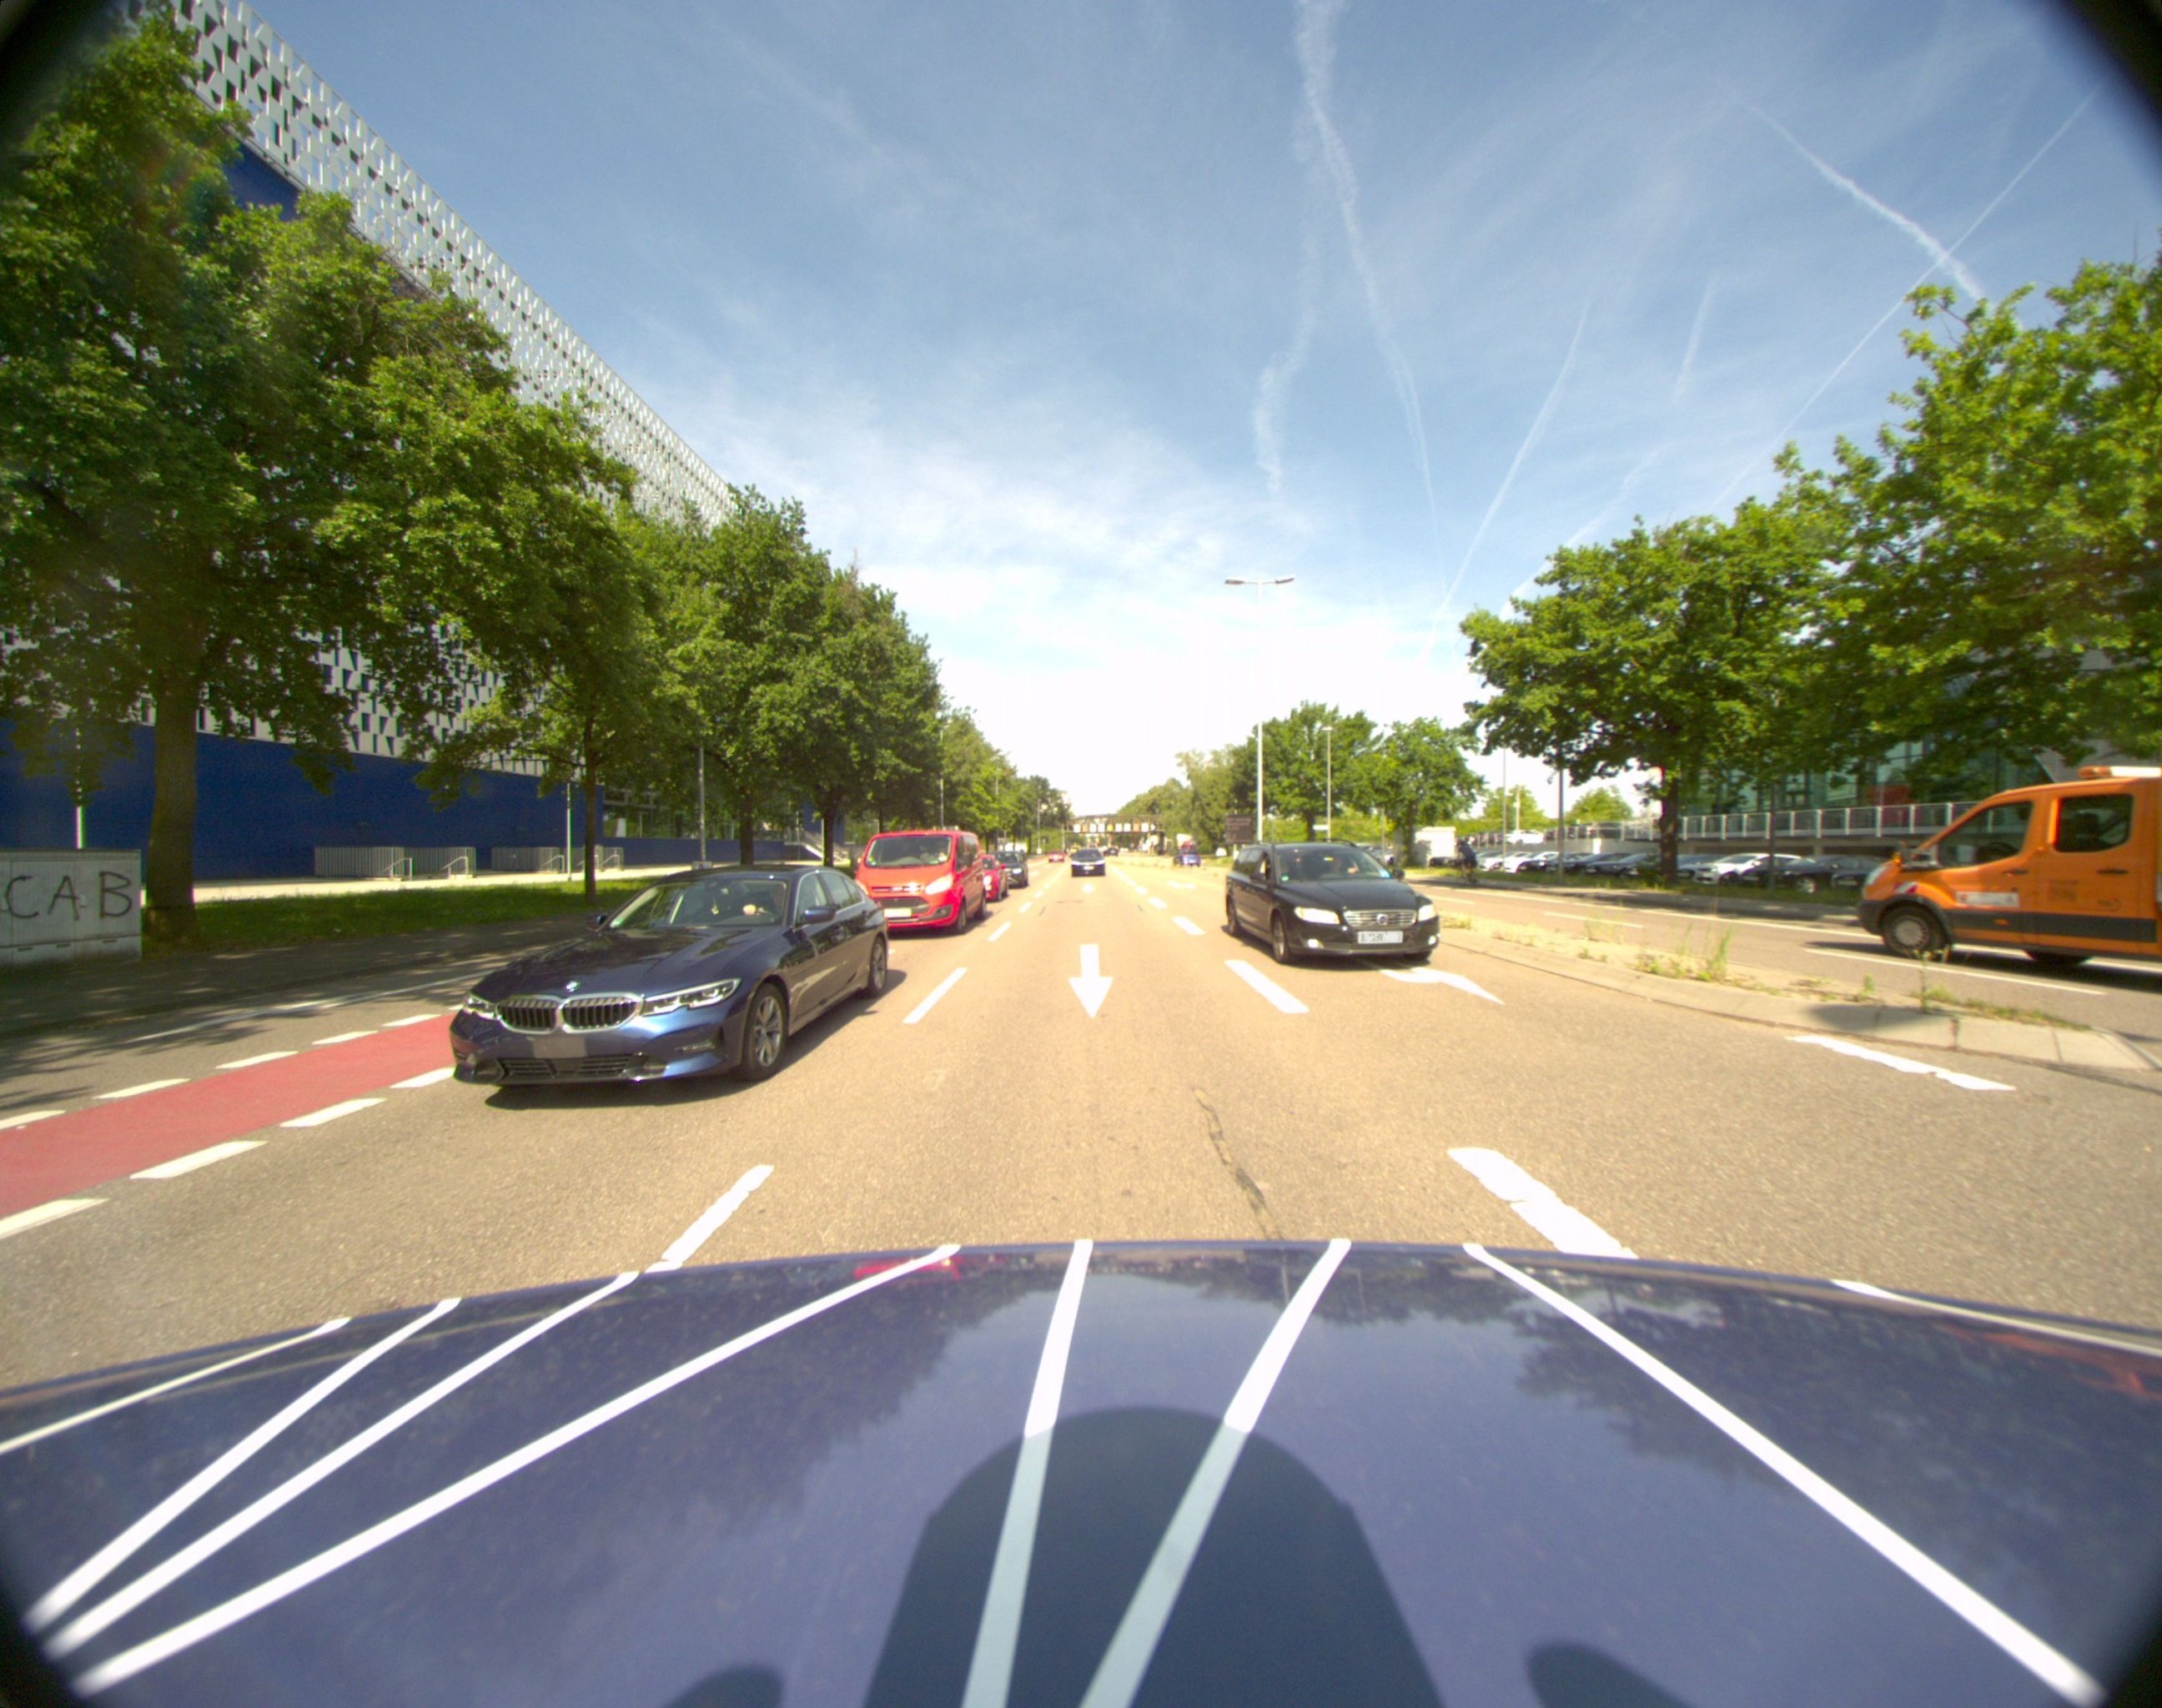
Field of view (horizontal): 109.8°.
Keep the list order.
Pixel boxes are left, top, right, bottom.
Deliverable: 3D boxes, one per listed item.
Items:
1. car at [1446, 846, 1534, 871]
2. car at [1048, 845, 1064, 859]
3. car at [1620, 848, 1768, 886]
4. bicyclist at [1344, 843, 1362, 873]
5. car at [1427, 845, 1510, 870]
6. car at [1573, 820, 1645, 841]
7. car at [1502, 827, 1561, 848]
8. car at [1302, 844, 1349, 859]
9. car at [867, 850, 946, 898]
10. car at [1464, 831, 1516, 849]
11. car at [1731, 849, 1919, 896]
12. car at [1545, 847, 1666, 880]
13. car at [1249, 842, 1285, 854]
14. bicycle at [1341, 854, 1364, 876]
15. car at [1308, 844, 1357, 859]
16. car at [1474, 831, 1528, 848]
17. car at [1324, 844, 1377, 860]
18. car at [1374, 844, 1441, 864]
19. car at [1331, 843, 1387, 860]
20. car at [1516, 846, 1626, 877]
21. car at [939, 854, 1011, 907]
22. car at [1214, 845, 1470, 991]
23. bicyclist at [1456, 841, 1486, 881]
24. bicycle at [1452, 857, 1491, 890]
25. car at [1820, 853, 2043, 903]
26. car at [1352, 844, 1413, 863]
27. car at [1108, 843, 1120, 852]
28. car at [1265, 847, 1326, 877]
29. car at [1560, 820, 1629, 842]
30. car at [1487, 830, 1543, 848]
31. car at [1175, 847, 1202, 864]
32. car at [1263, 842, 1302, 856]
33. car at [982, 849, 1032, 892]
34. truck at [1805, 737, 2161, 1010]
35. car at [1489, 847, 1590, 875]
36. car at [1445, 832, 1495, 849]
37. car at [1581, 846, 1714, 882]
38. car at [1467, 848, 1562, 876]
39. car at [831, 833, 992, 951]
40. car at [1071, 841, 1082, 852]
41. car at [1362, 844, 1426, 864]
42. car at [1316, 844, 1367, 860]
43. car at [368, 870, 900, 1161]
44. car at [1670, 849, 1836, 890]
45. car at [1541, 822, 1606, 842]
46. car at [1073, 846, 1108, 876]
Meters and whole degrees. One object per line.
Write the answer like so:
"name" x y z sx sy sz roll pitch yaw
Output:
"car" 23.996 0.255 44.653 4.196 1.239 1.690 3 1 2
"car" -2.795 -0.269 86.974 1.649 1.531 3.999 -3 1 -1
"car" 23.387 0.469 29.110 4.196 1.198 1.690 3 1 2
"bicyclist" 14.731 0.225 41.177 0.578 1.587 0.910 1 1 0
"car" 23.970 0.181 47.121 4.196 1.315 1.690 3 1 2
"car" 40.106 -1.787 57.812 4.196 1.397 1.690 3 1 2
"car" 40.500 -1.482 68.362 4.196 1.722 1.690 3 1 2
"car" 25.020 -0.309 77.748 4.196 1.315 1.690 3 1 2
"car" -6.792 0.708 30.062 1.998 1.646 4.390 -2 1 1
"car" 40.647 -1.384 75.646 4.196 1.490 1.690 3 1 2
"car" 23.552 0.558 24.158 4.196 1.239 1.690 3 1 2
"car" 23.622 0.389 34.328 4.196 1.252 1.690 3 1 2
"car" 24.157 -0.780 98.810 4.196 1.371 1.690 3 1 2
"bicycle" 14.730 0.597 41.283 0.572 1.143 1.769 1 1 0
"car" 24.845 -0.248 75.064 4.196 1.315 1.690 3 1 2
"car" 40.541 -1.391 73.357 4.196 1.490 1.690 3 1 2
"car" 24.587 -0.180 69.515 4.196 1.315 1.690 3 1 2
"car" 24.358 0.005 56.754 4.196 1.315 1.690 3 1 2
"car" 24.480 -0.207 66.983 4.196 1.315 1.690 3 1 2
"car" 23.777 0.338 36.963 4.196 1.292 1.690 3 1 2
"car" -3.196 0.755 23.564 1.692 1.414 3.915 -1 1 -1
"car" 3.242 0.661 10.609 1.882 1.513 4.868 -2 1 0
"bicyclist" 14.613 0.262 28.501 0.571 1.474 1.143 0 1 3
"bicycle" 14.607 0.714 28.473 0.572 1.143 1.925 0 1 3
"car" 23.709 0.652 21.299 4.196 1.116 1.719 3 1 2
"car" 24.353 -0.051 61.514 4.196 1.315 1.690 3 1 2
"car" 5.372 -1.019 124.324 1.866 1.503 4.000 0 1 2
"car" 11.505 0.379 41.056 1.851 1.451 4.663 2 1 -1
"car" 40.796 -1.812 60.432 4.196 1.490 1.690 3 1 2
"car" 40.528 -1.373 71.022 4.196 1.490 1.690 3 1 2
"car" 9.450 0.102 66.938 1.732 1.430 3.869 2 1 0
"car" 24.146 -0.643 91.026 4.196 1.490 1.690 3 1 2
"car" -2.968 0.619 31.179 1.649 1.531 3.999 -3 1 -1
"truck" 11.525 0.210 7.508 2.381 2.610 6.672 1 1 1
"car" 23.858 0.342 39.651 4.196 1.248 1.690 3 1 2
"car" 40.515 -1.405 79.218 4.196 1.490 1.690 3 1 2
"car" 23.510 0.406 31.633 4.196 1.247 1.690 3 1 2
"car" 23.958 0.401 42.056 4.196 1.317 1.690 3 1 2
"car" -3.084 0.604 14.982 2.014 1.896 4.809 -2 1 0
"car" -0.781 -1.461 145.706 1.998 2.002 3.999 -2 2 0
"car" 24.395 -0.014 59.299 4.196 1.315 1.690 3 1 2
"car" 24.832 -0.232 72.527 4.196 1.315 1.690 3 1 2
"car" -3.003 0.943 6.468 1.800 1.421 4.537 -1 1 0
"car" 23.477 0.511 26.655 4.196 1.188 1.690 3 1 2
"car" 40.922 -1.821 63.164 4.196 1.490 1.690 3 1 2
"car" 0.504 0.369 42.315 1.847 1.531 3.999 -1 1 0
